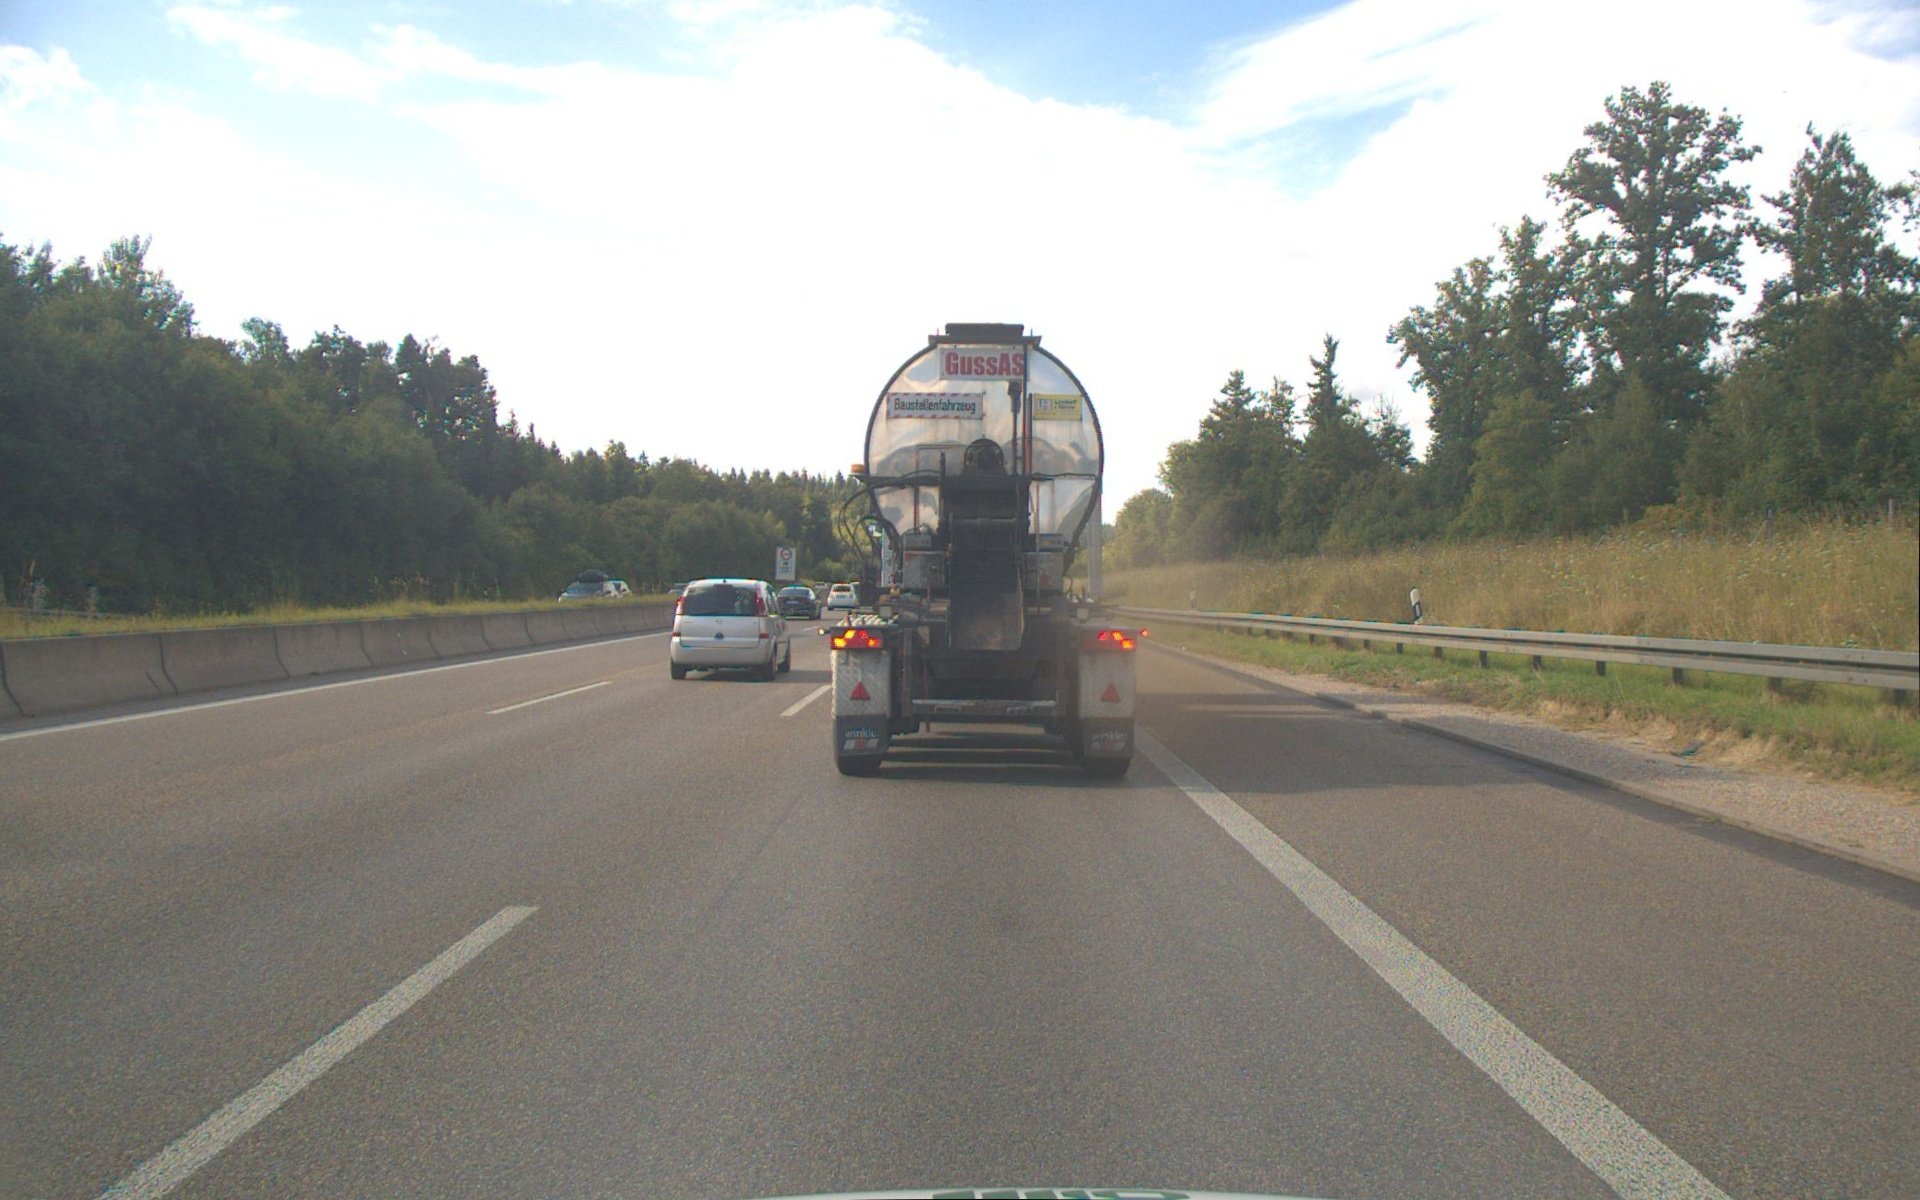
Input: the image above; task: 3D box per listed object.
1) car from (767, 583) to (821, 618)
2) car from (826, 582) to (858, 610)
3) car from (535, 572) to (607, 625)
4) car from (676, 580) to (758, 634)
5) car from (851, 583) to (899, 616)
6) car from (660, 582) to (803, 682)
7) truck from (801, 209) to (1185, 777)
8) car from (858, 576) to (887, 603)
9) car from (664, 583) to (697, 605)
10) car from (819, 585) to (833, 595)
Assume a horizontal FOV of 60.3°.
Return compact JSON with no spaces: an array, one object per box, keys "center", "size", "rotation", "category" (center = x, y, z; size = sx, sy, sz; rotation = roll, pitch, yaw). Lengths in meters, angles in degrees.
[{"center":[-7.129,0.022,71.474],"size":[1.818,1.456,4.841],"rotation":[0,0,0],"category":"car"},{"center":[-6.789,-0.218,95.579],"size":[1.585,1.571,3.519],"rotation":[1,0,0],"category":"car"},{"center":[-15.430,-0.068,65.818],"size":[1.953,2.049,4.071],"rotation":[0,0,-1],"category":"car"},{"center":[-7.192,0.175,49.329],"size":[1.798,1.544,4.333],"rotation":[0,0,0],"category":"car"},{"center":[-4.161,-0.044,81.636],"size":[2.018,1.525,5.736],"rotation":[0,0,0],"category":"car"},{"center":[-3.743,0.479,27.801],"size":[1.798,1.544,4.333],"rotation":[0,0,0],"category":"car"},{"center":[0.287,-0.851,17.999],"size":[2.853,4.230,11.270],"rotation":[0,0,0],"category":"truck"},{"center":[-5.953,-0.724,112.484],"size":[1.808,1.814,3.999],"rotation":[0,0,-1],"category":"car"},{"center":[-21.873,-0.464,129.551],"size":[1.841,1.656,4.570],"rotation":[0,0,-1],"category":"car"},{"center":[-19.171,-1.430,237.022],"size":[1.779,1.313,3.544],"rotation":[0,0,0],"category":"car"}]
